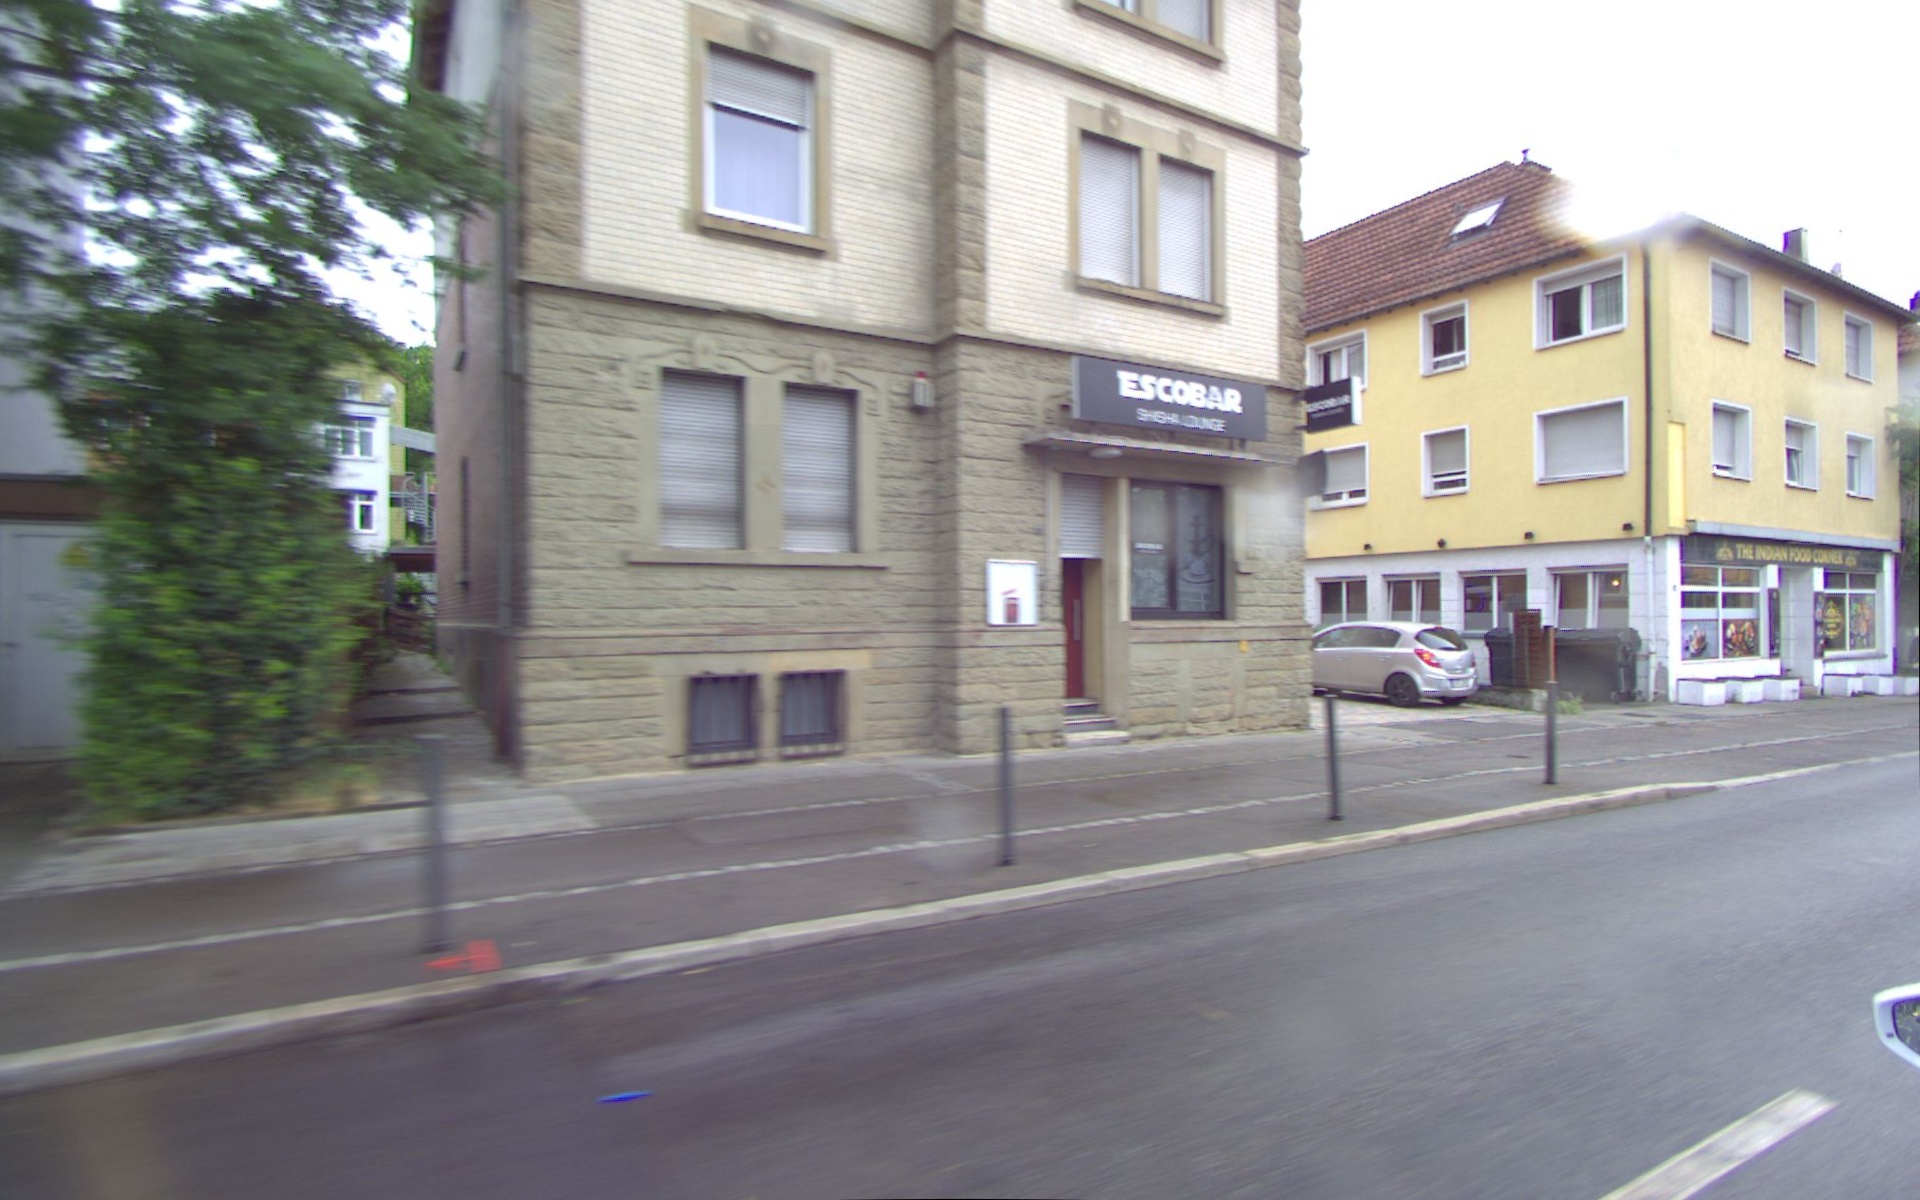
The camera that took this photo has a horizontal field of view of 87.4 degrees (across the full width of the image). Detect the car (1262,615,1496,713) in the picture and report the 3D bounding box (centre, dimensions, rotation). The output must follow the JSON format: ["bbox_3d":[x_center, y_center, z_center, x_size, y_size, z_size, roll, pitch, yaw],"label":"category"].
[{"bbox_3d":[7.623,1.087,18.552,1.925,1.506,3.545,1,1,-32],"label":"car"}]

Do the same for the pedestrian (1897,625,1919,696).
[{"bbox_3d":[23.437,1.473,24.369,0.982,1.701,0.810,2,-1,-33],"label":"pedestrian"}]

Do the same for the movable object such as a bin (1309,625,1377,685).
[{"bbox_3d":[9.456,1.346,24.814,1.049,1.421,1.203,1,-1,-31],"label":"movable object such as a bin"}]

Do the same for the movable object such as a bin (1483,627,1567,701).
[{"bbox_3d":[11.801,1.314,21.001,0.972,1.459,1.240,1,-1,-31],"label":"movable object such as a bin"}]

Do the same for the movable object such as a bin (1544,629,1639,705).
[{"bbox_3d":[12.479,1.292,19.875,0.972,1.421,1.295,1,-1,-31],"label":"movable object such as a bin"}]
